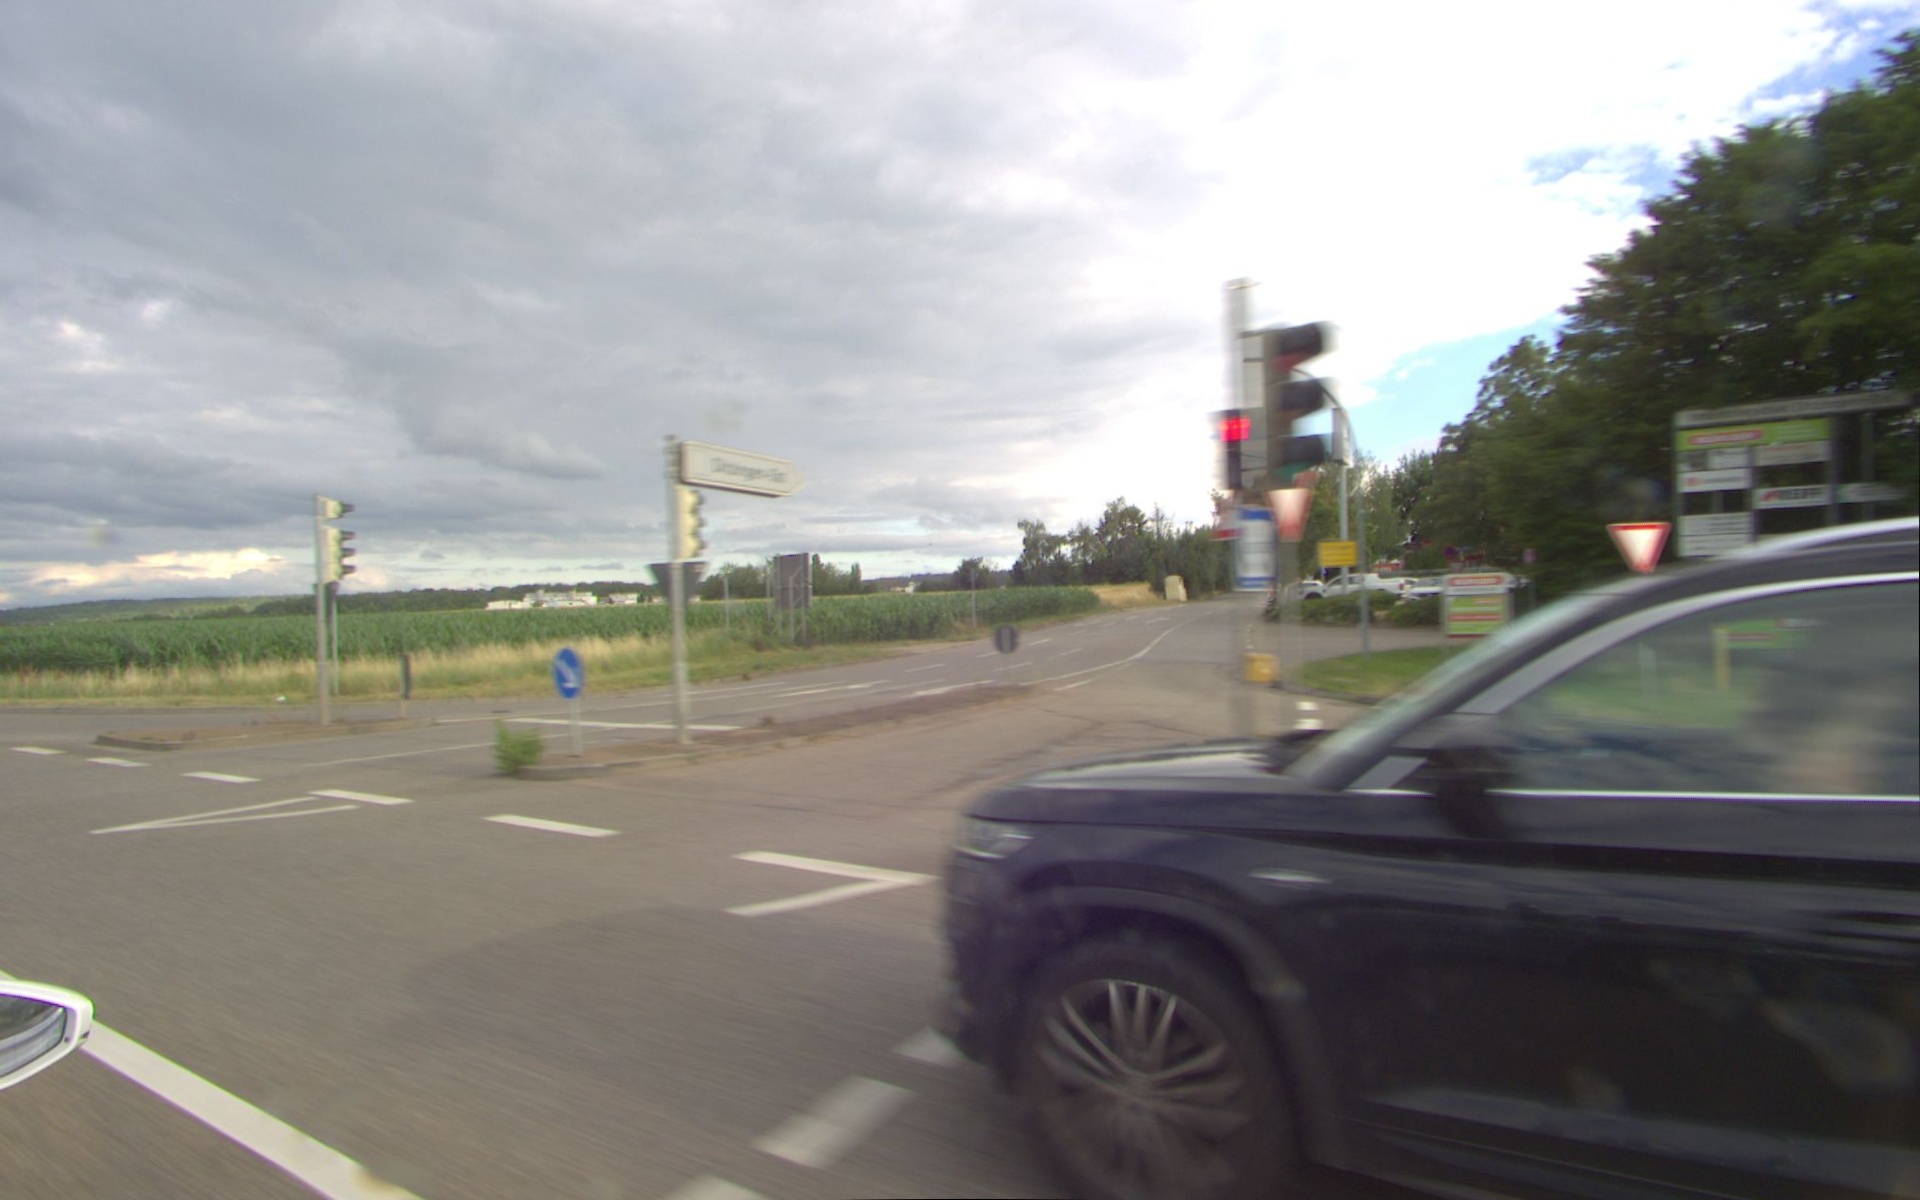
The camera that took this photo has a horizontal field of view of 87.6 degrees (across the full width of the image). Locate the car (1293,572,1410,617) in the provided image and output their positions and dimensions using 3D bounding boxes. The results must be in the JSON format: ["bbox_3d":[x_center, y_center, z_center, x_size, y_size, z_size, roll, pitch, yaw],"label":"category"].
[{"bbox_3d":[20.395,-0.276,52.212,5.525,2.040,1.993,-2,0,26],"label":"car"}]

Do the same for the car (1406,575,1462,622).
[{"bbox_3d":[21.242,-0.095,44.802,1.931,1.909,4.284,-2,1,29],"label":"car"}]

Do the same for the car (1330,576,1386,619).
[{"bbox_3d":[19.404,-0.136,48.726,1.931,1.909,4.284,-2,1,29],"label":"car"}]

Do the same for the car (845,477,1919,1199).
[{"bbox_3d":[2.026,0.669,2.417,4.417,1.670,1.842,-2,-3,32],"label":"car"}]

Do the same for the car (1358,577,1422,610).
[{"bbox_3d":[29.567,-0.422,69.023,3.932,2.039,1.997,-2,-2,21],"label":"car"}]

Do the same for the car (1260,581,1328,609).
[{"bbox_3d":[23.437,-0.335,70.263,4.260,1.802,1.993,-2,0,26],"label":"car"}]
